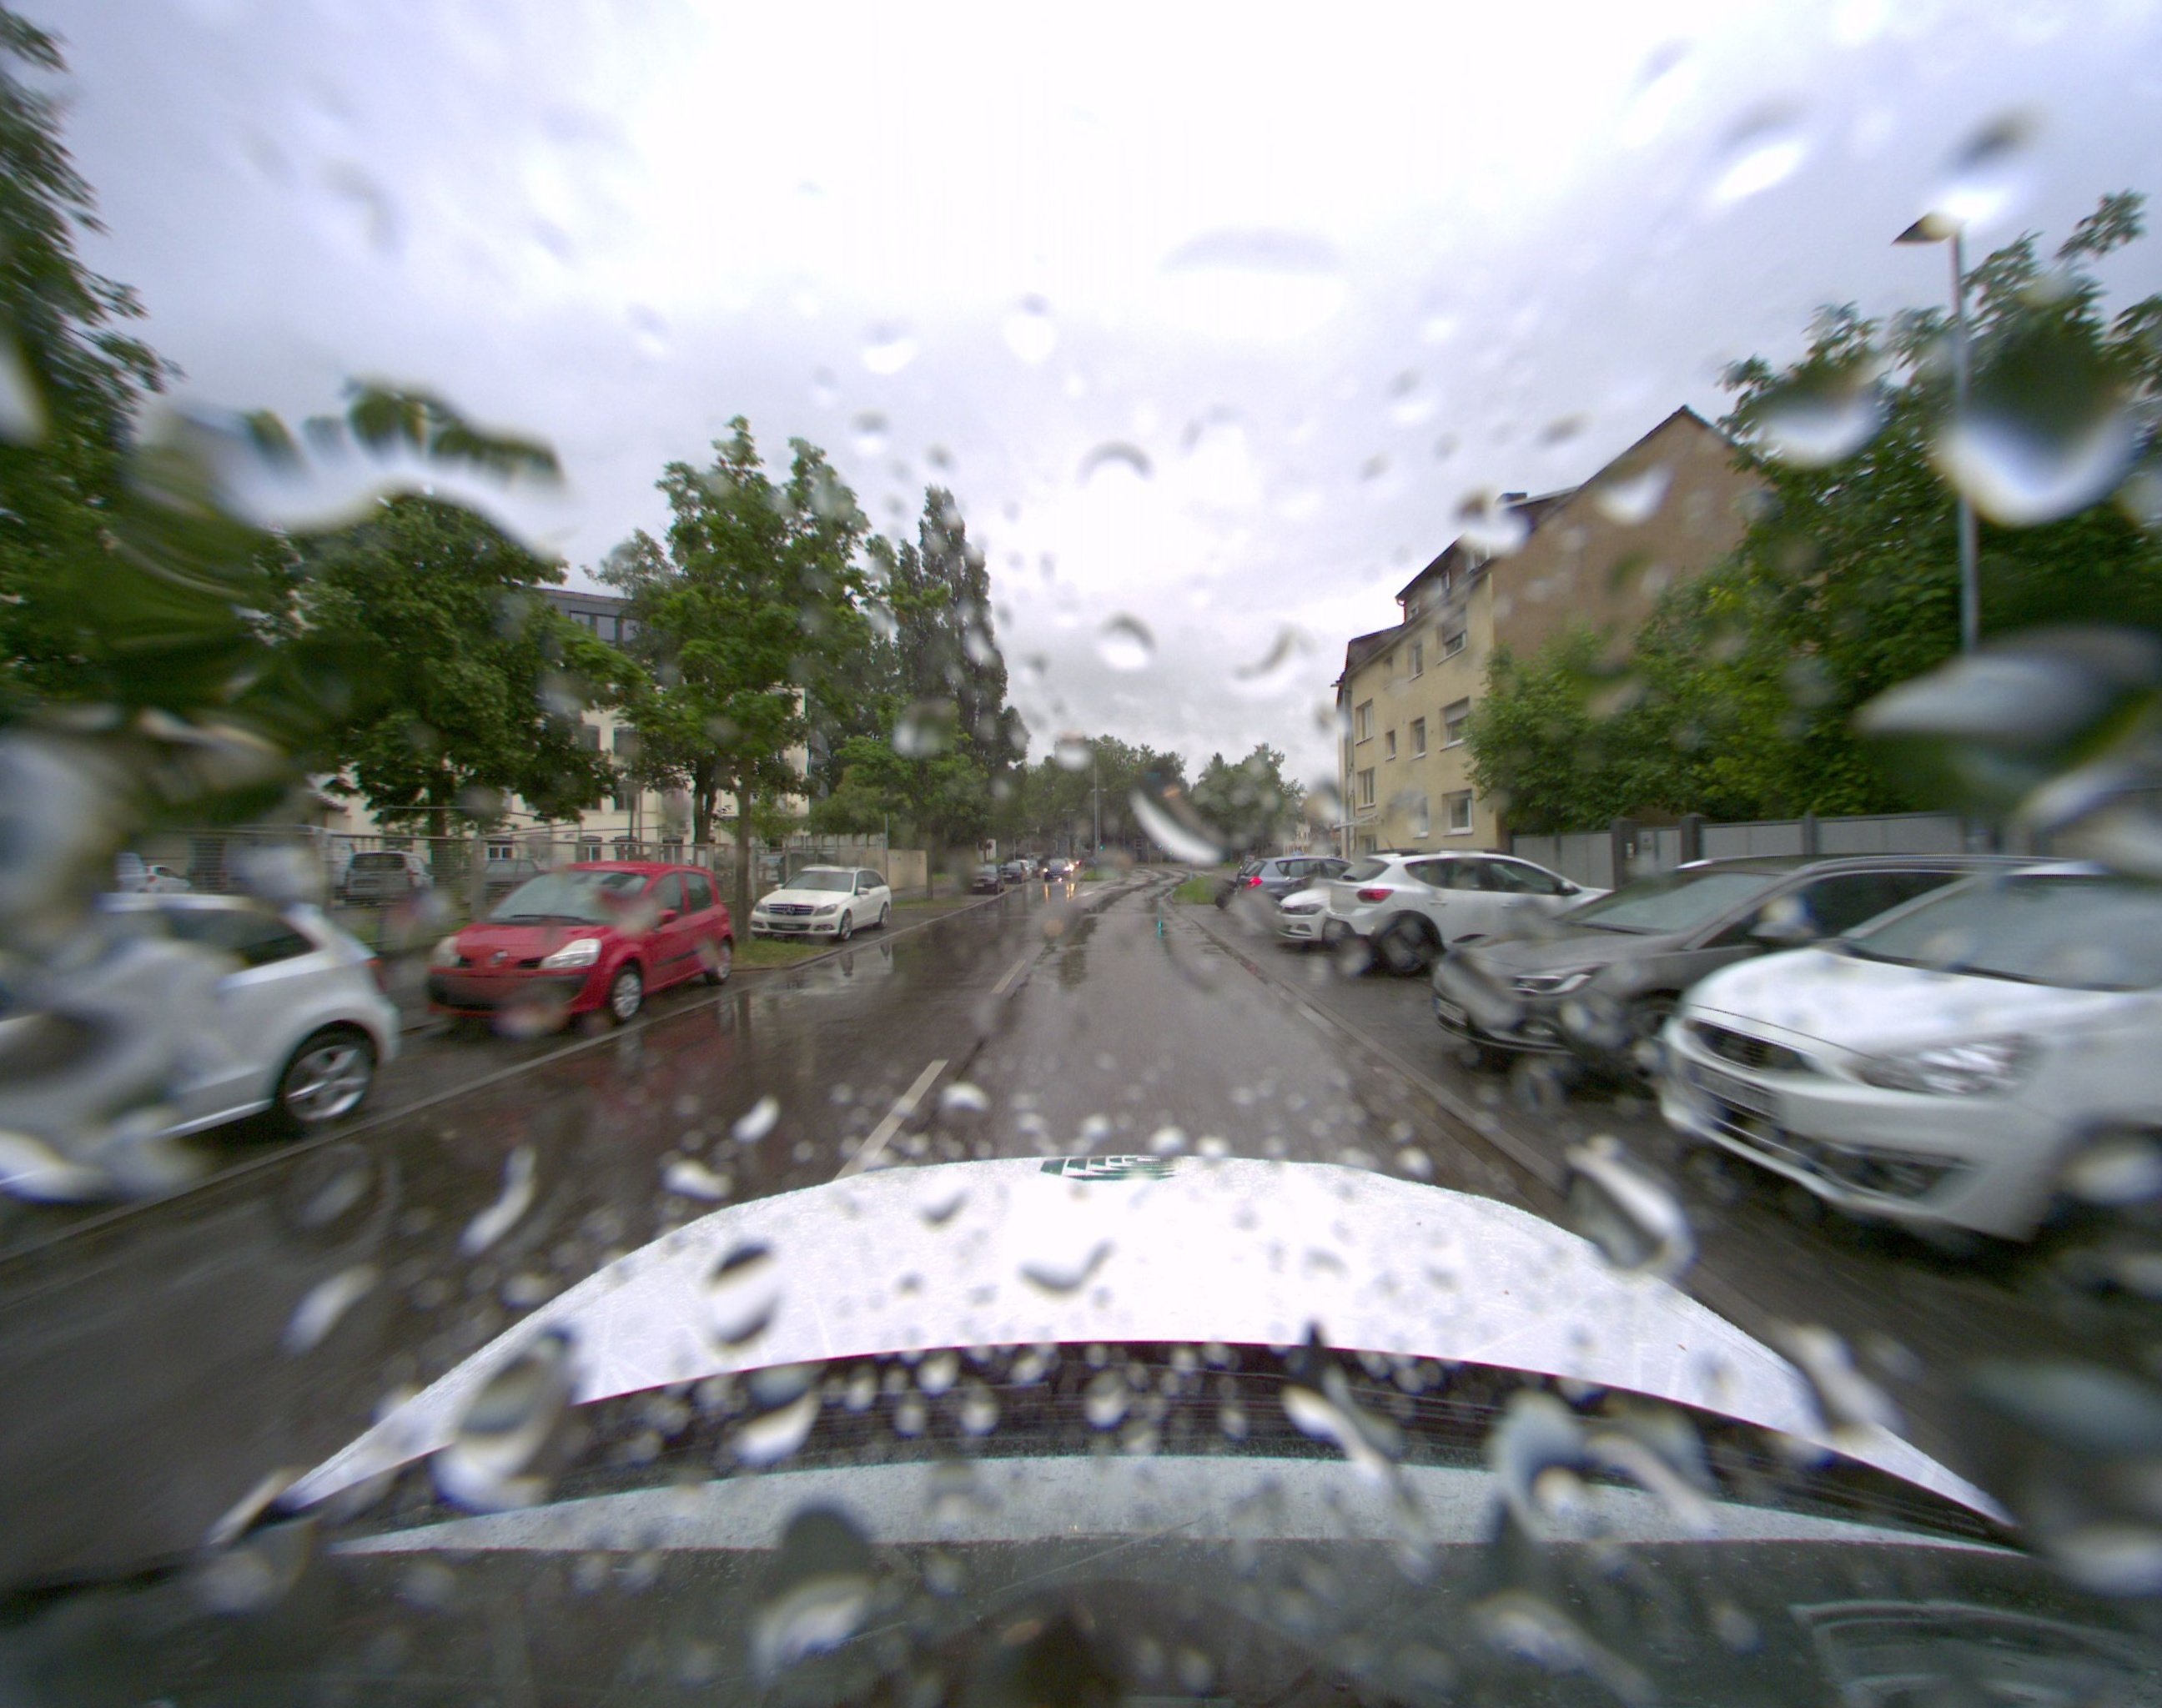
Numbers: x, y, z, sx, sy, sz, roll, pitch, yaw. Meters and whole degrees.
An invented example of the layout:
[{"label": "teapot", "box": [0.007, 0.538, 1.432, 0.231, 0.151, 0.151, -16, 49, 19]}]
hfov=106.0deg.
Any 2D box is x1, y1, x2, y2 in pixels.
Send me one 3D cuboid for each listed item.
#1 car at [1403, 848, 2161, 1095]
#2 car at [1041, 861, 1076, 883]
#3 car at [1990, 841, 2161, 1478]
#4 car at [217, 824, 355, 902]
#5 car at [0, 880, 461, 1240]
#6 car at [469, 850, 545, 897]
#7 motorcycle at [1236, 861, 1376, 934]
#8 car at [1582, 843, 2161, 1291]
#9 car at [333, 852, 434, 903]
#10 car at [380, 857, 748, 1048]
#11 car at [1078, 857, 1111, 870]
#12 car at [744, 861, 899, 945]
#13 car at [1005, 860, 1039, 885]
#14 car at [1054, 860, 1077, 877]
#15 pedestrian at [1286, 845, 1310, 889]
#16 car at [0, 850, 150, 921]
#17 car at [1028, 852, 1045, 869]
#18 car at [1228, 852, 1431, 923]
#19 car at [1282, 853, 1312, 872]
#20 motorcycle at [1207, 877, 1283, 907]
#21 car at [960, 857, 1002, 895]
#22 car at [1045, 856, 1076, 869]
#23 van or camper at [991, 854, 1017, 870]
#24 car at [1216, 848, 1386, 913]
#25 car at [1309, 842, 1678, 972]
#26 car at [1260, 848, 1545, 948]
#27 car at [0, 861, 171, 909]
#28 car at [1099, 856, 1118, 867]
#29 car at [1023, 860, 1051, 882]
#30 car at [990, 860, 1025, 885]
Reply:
[{"label": "car", "box": [4.620, 0.714, 5.798, 3.972, 1.466, 1.782, 0, 0, 1]}, {"label": "car", "box": [-1.515, 1.206, 55.618, 1.985, 1.486, 4.004, -1, -1, 4]}, {"label": "car", "box": [4.495, 0.686, 1.024, 4.246, 1.454, 1.988, -1, 0, 7]}, {"label": "car", "box": [-23.479, 0.267, 24.245, 2.006, 2.122, 3.961, 0, -1, -30]}, {"label": "car", "box": [-5.347, 0.896, 3.676, 1.653, 1.460, 4.178, -1, -1, 5]}, {"label": "car", "box": [-19.068, 0.621, 27.174, 1.715, 1.434, 3.615, 0, -1, -30]}, {"label": "motorcycle", "box": [4.217, 0.798, 15.377, 2.393, 1.324, 0.918, 0, -1, -3]}, {"label": "car", "box": [4.720, 0.700, 3.522, 3.969, 1.474, 1.804, -1, -1, 4]}, {"label": "car", "box": [-21.555, 0.697, 25.308, 1.715, 1.434, 3.615, 0, -1, -30]}, {"label": "car", "box": [-5.253, 0.857, 9.047, 1.622, 1.598, 4.195, 0, -1, -4]}, {"label": "car", "box": [1.733, 1.237, 105.034, 3.948, 1.689, 1.757, -1, -1, 33]}, {"label": "car", "box": [-5.312, 0.928, 17.369, 1.762, 1.529, 4.598, 0, -1, 1]}, {"label": "car", "box": [-4.200, 1.315, 58.509, 1.919, 1.731, 4.004, 0, -1, 3]}, {"label": "car", "box": [-1.570, 1.519, 83.681, 1.918, 1.692, 4.005, 0, -1, 5]}, {"label": "pedestrian", "box": [10.117, 0.601, 38.004, 1.002, 2.014, 0.957, -1, -1, 19]}, {"label": "car", "box": [-27.837, 0.814, 22.337, 1.942, 1.785, 3.960, 0, -1, -32]}, {"label": "car", "box": [-9.009, 1.315, 163.224, 2.227, 3.237, 4.639, 0, -1, -20]}, {"label": "car", "box": [5.436, 0.725, 18.233, 3.971, 1.461, 1.935, 0, -1, 2]}, {"label": "car", "box": [19.972, 0.772, 75.228, 1.975, 1.717, 4.022, -1, -1, 24]}, {"label": "motorcycle", "box": [4.589, 1.063, 22.871, 2.061, 0.792, 0.712, -1, 0, 7]}, {"label": "car", "box": [-4.528, 0.971, 37.390, 1.773, 1.530, 3.993, 0, 1, -5]}, {"label": "car", "box": [-2.826, 1.193, 112.128, 3.948, 1.689, 1.757, -1, -1, 31]}, {"label": "van or camper", "box": [-10.096, 1.099, 107.058, 1.978, 2.014, 4.018, -1, 0, 17]}, {"label": "car", "box": [5.459, 0.665, 20.645, 3.965, 1.552, 1.749, -1, -1, 8]}, {"label": "car", "box": [5.306, 0.649, 10.896, 3.974, 1.552, 1.905, 0, -1, -1]}, {"label": "car", "box": [5.152, 0.682, 13.452, 3.976, 1.490, 1.861, 0, -1, -2]}, {"label": "car", "box": [-36.678, 1.089, 30.021, 4.023, 1.546, 1.975, -2, 1, -44]}, {"label": "car", "box": [3.912, 1.085, 115.307, 1.850, 1.524, 3.985, -1, 0, -11]}, {"label": "car", "box": [-3.677, 1.410, 68.779, 1.919, 1.731, 4.004, 0, -1, 4]}, {"label": "car", "box": [-4.649, 1.164, 52.200, 1.923, 1.484, 3.997, -2, 0, -2]}]
